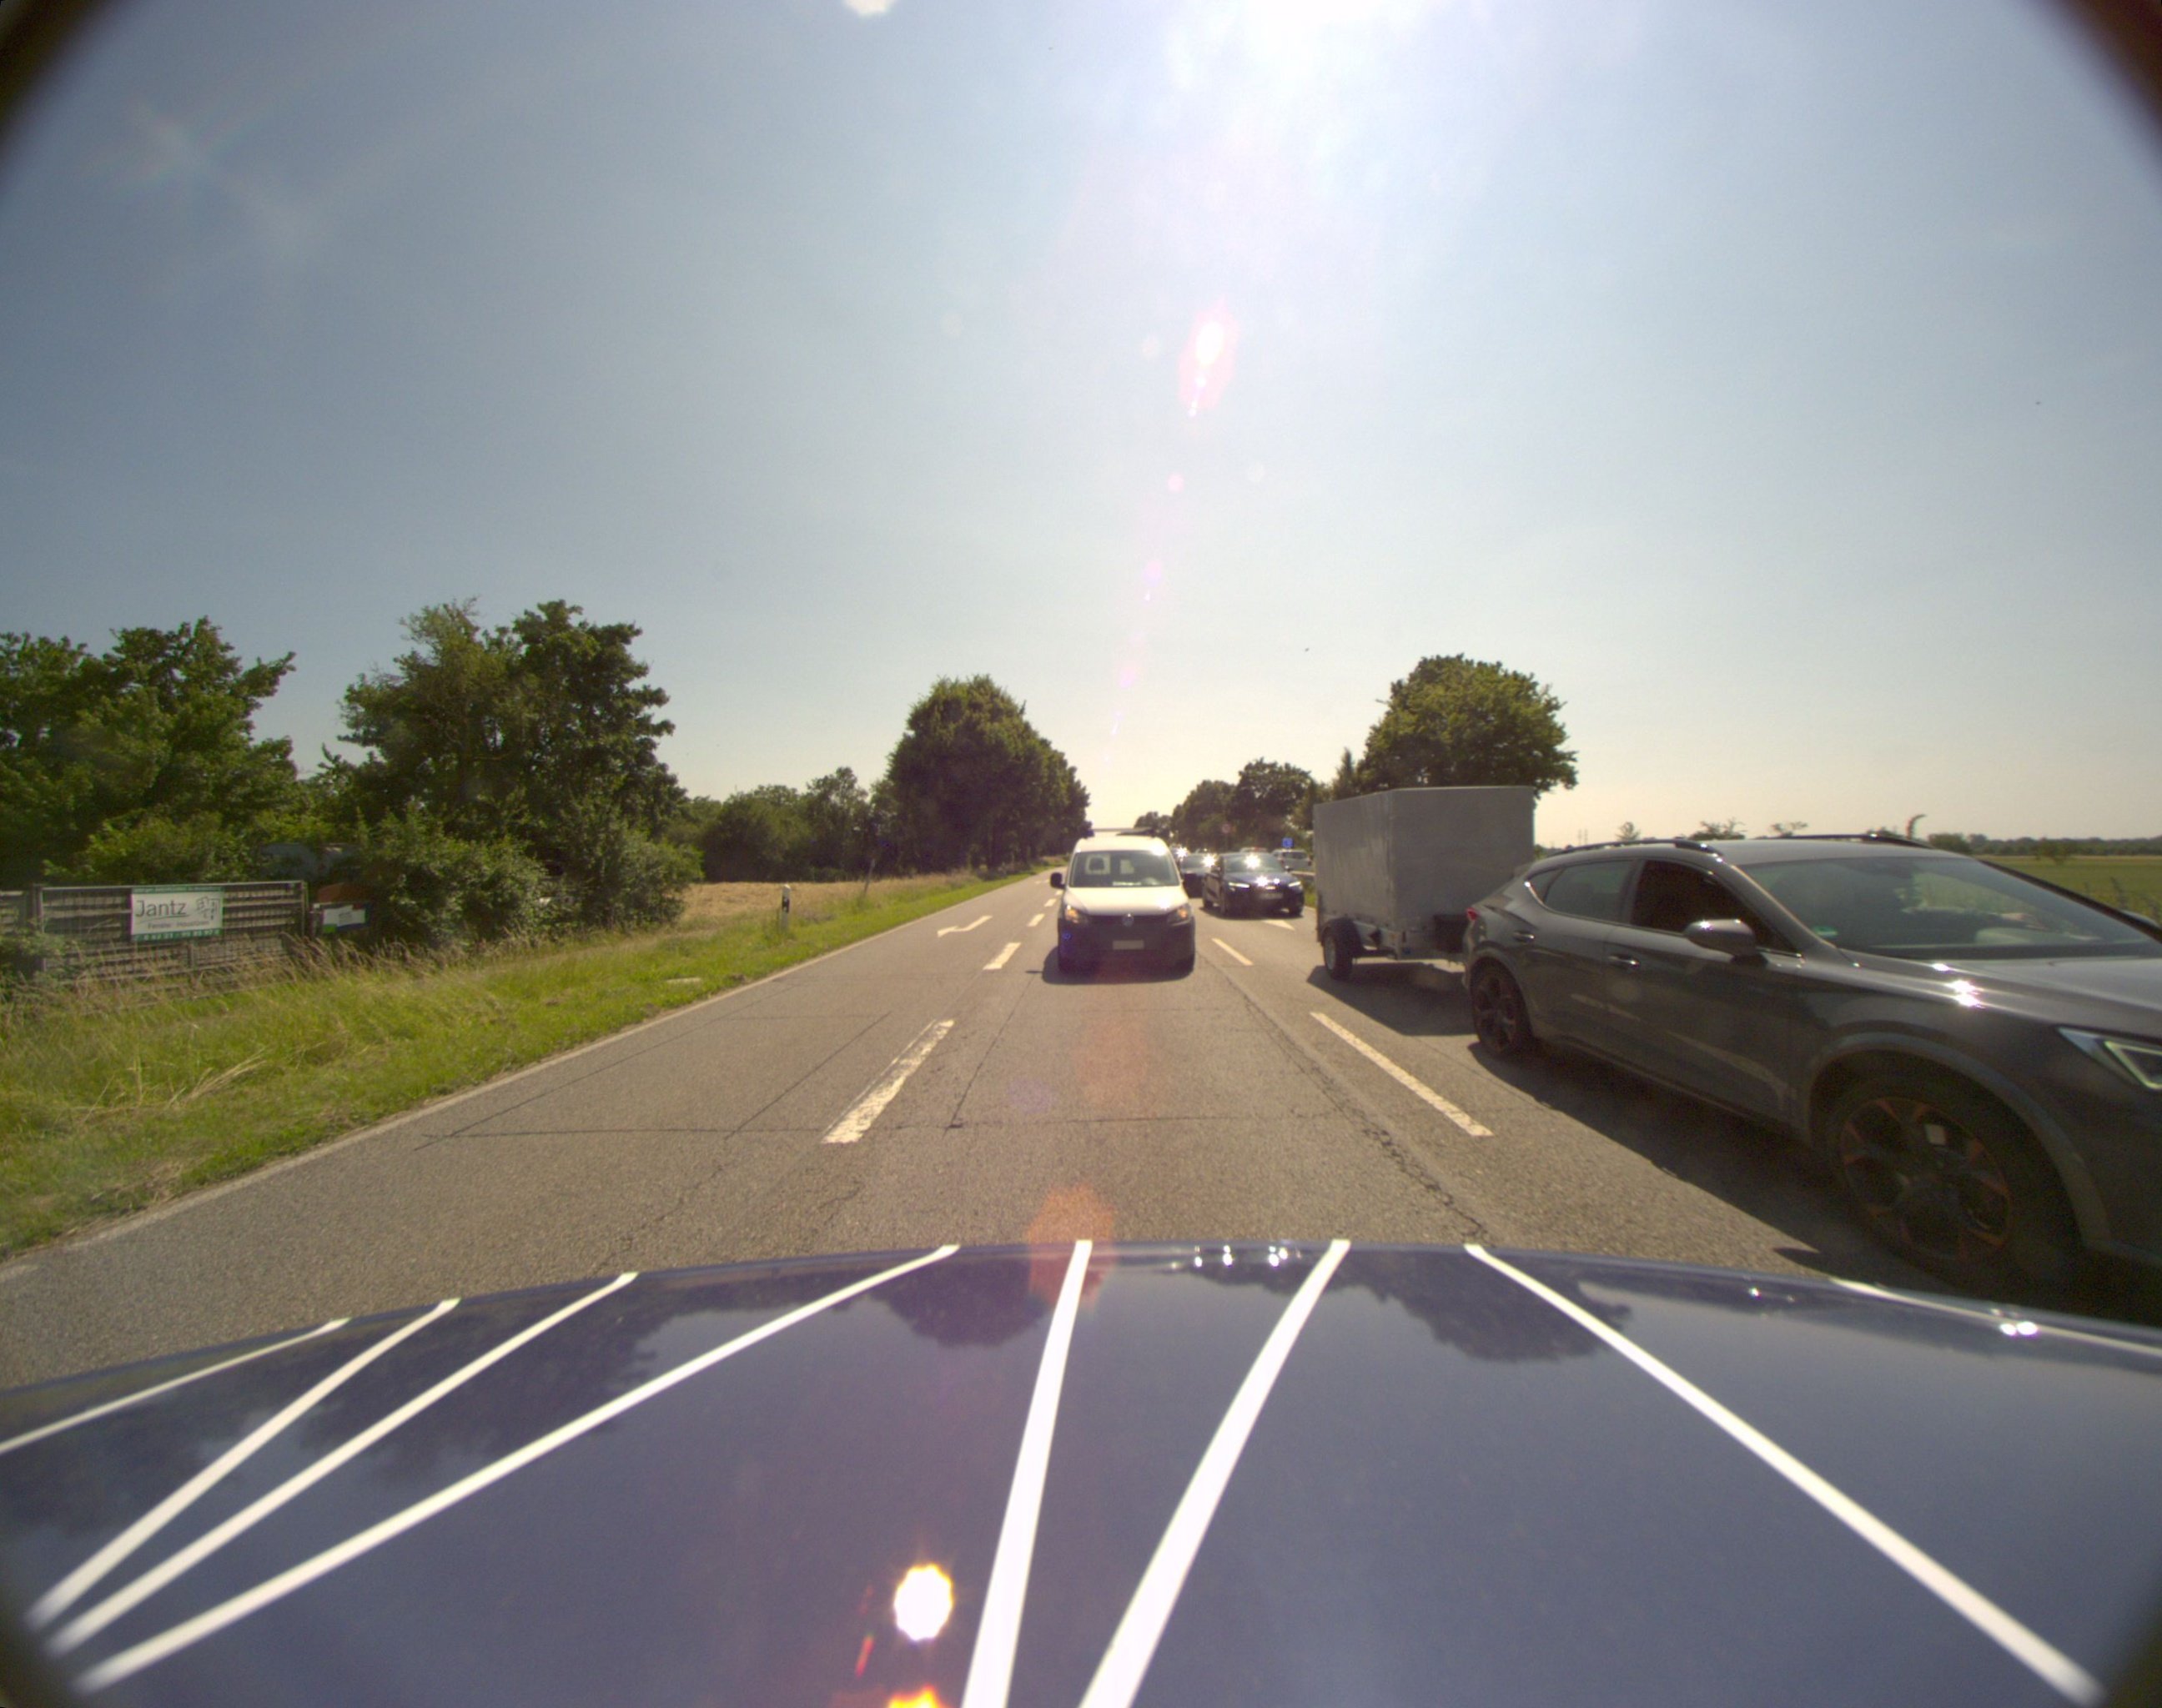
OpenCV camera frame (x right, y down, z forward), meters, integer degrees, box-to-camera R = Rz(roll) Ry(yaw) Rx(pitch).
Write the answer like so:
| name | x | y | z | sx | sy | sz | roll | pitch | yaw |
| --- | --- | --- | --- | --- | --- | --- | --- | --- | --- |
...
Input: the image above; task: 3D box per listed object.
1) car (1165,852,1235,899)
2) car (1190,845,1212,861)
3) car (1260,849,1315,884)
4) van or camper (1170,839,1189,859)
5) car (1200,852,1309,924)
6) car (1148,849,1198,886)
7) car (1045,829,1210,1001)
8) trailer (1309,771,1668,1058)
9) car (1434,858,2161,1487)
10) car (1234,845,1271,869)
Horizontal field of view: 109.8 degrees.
| name | x | y | z | sx | sy | sz | roll | pitch | yaw |
| --- | --- | --- | --- | --- | --- | --- | --- | --- | --- |
| car | 3.969 | 0.676 | 25.938 | 1.744 | 1.372 | 4.455 | -2 | 1 | 1 |
| car | 14.487 | -0.085 | 91.662 | 1.862 | 1.845 | 4.696 | 0 | 0 | 0 |
| car | 10.080 | 0.557 | 37.324 | 1.749 | 1.629 | 4.136 | 0 | 0 | 2 |
| van or camper | 15.707 | -0.820 | 121.792 | 2.269 | 3.081 | 5.694 | 0 | 0 | 0 |
| car | 4.030 | 0.723 | 18.284 | 1.721 | 1.456 | 4.030 | -2 | 1 | 1 |
| car | 4.051 | 0.552 | 33.979 | 1.860 | 1.507 | 4.100 | -1 | 1 | 2 |
| car | 0.568 | 0.659 | 10.788 | 1.777 | 1.863 | 4.581 | -2 | 1 | 1 |
| trailer | 3.740 | 0.454 | 7.889 | 1.504 | 2.160 | 4.174 | -2 | 0 | 1 |
| car | 3.613 | 0.819 | 3.738 | 1.750 | 1.494 | 4.363 | -2 | 0 | 1 |
| car | 14.413 | 0.211 | 64.026 | 1.999 | 1.919 | 5.015 | 0 | 0 | 0 |
